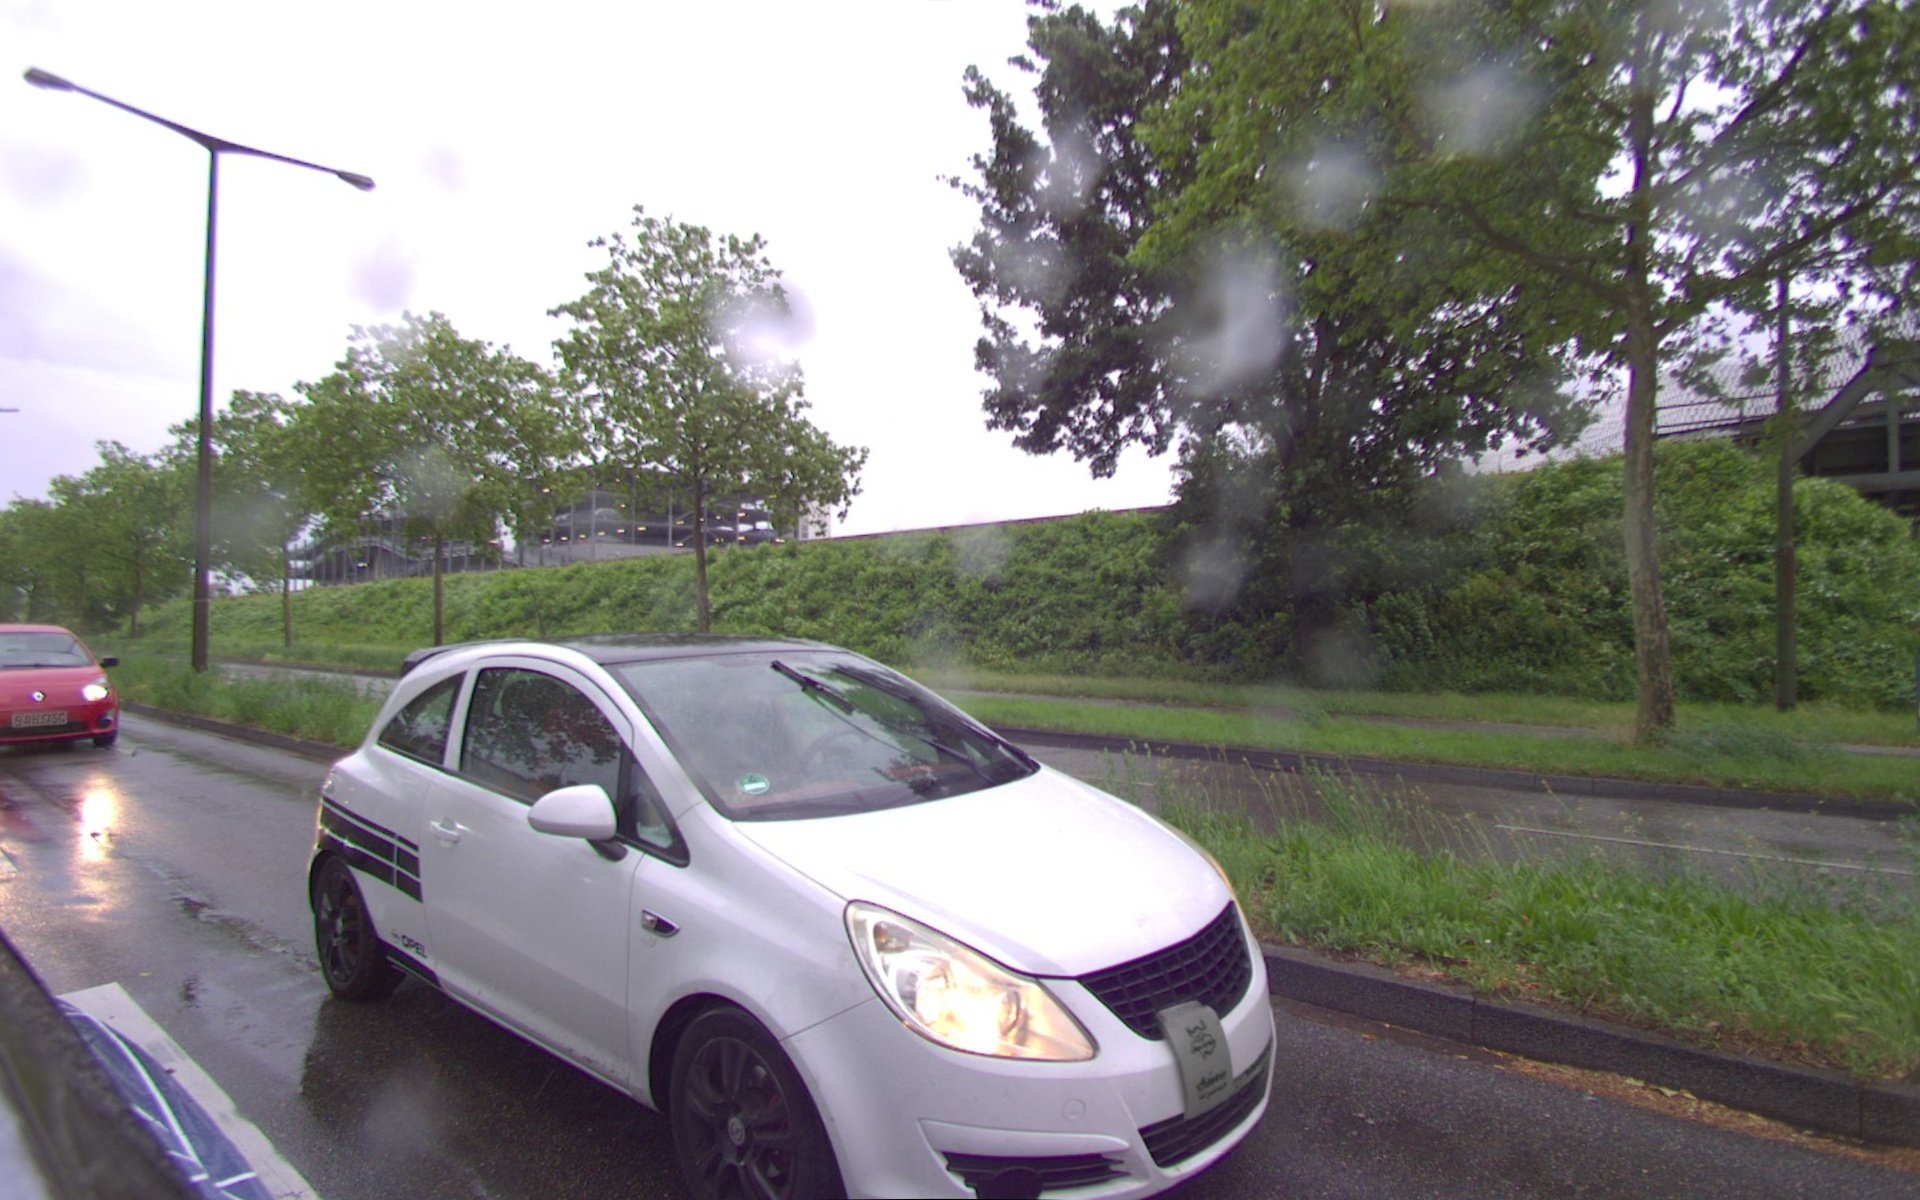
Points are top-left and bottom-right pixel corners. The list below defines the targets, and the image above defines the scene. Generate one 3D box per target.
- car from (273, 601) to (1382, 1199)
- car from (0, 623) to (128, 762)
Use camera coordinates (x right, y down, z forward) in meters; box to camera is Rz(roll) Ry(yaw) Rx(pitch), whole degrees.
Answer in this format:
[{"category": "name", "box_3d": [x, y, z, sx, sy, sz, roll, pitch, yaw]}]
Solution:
[{"category": "car", "box_3d": [-0.842, 0.750, 3.609, 4.008, 1.387, 1.661, -2, -1, 41]}, {"category": "car", "box_3d": [-11.790, 1.062, 12.470, 4.089, 1.476, 1.702, -2, -1, 41]}]
